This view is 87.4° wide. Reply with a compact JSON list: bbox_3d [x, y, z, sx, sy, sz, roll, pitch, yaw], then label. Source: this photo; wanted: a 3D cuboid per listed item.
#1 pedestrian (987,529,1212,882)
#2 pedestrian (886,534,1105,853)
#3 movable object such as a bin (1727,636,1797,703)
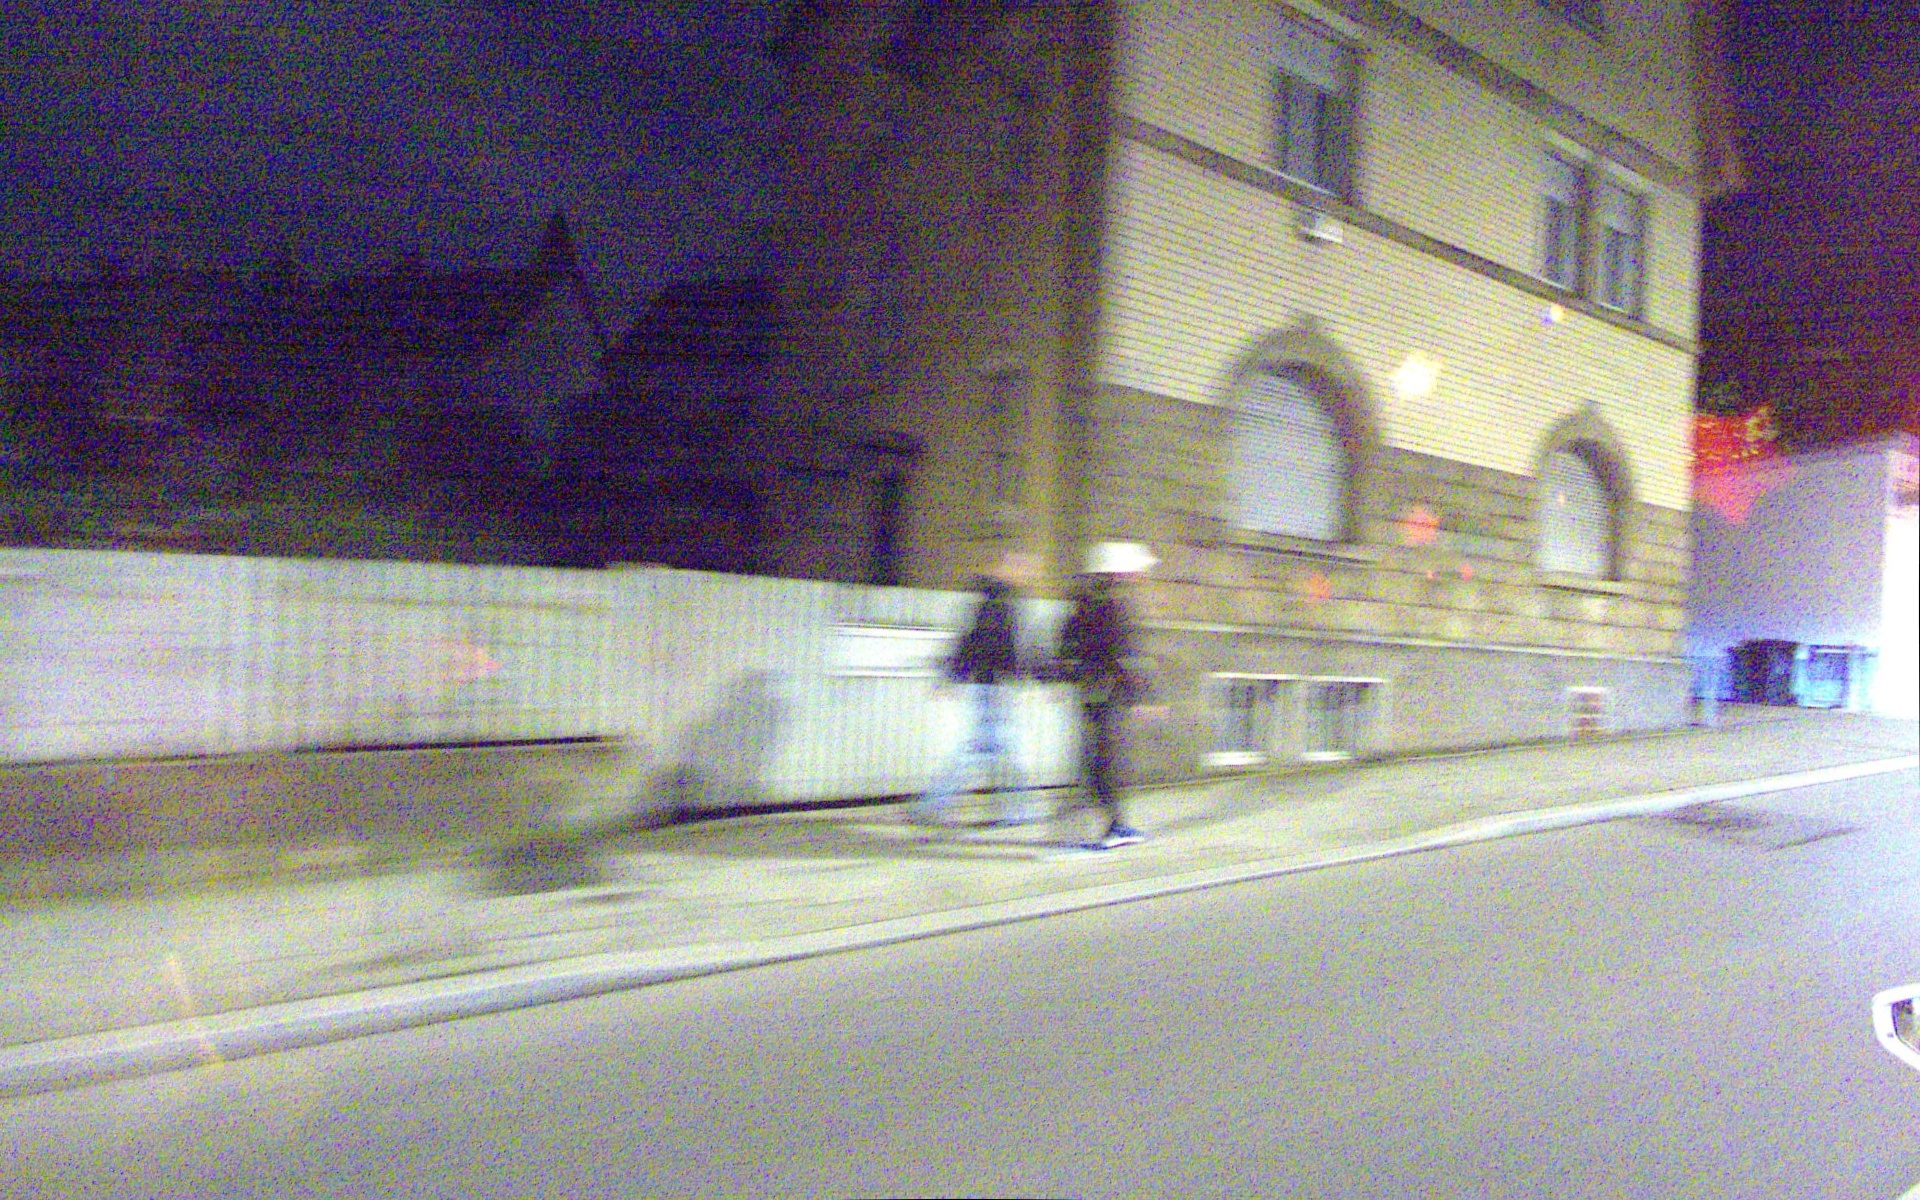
[{"bbox_3d":[0.773,0.540,5.588,1.017,1.768,0.672,1,0,-31],"label":"pedestrian"},{"bbox_3d":[0.218,0.529,6.181,1.091,1.768,0.738,1,0,-31],"label":"pedestrian"},{"bbox_3d":[13.402,1.152,16.805,0.643,1.063,0.639,1,0,-12],"label":"movable object such as a bin"}]
